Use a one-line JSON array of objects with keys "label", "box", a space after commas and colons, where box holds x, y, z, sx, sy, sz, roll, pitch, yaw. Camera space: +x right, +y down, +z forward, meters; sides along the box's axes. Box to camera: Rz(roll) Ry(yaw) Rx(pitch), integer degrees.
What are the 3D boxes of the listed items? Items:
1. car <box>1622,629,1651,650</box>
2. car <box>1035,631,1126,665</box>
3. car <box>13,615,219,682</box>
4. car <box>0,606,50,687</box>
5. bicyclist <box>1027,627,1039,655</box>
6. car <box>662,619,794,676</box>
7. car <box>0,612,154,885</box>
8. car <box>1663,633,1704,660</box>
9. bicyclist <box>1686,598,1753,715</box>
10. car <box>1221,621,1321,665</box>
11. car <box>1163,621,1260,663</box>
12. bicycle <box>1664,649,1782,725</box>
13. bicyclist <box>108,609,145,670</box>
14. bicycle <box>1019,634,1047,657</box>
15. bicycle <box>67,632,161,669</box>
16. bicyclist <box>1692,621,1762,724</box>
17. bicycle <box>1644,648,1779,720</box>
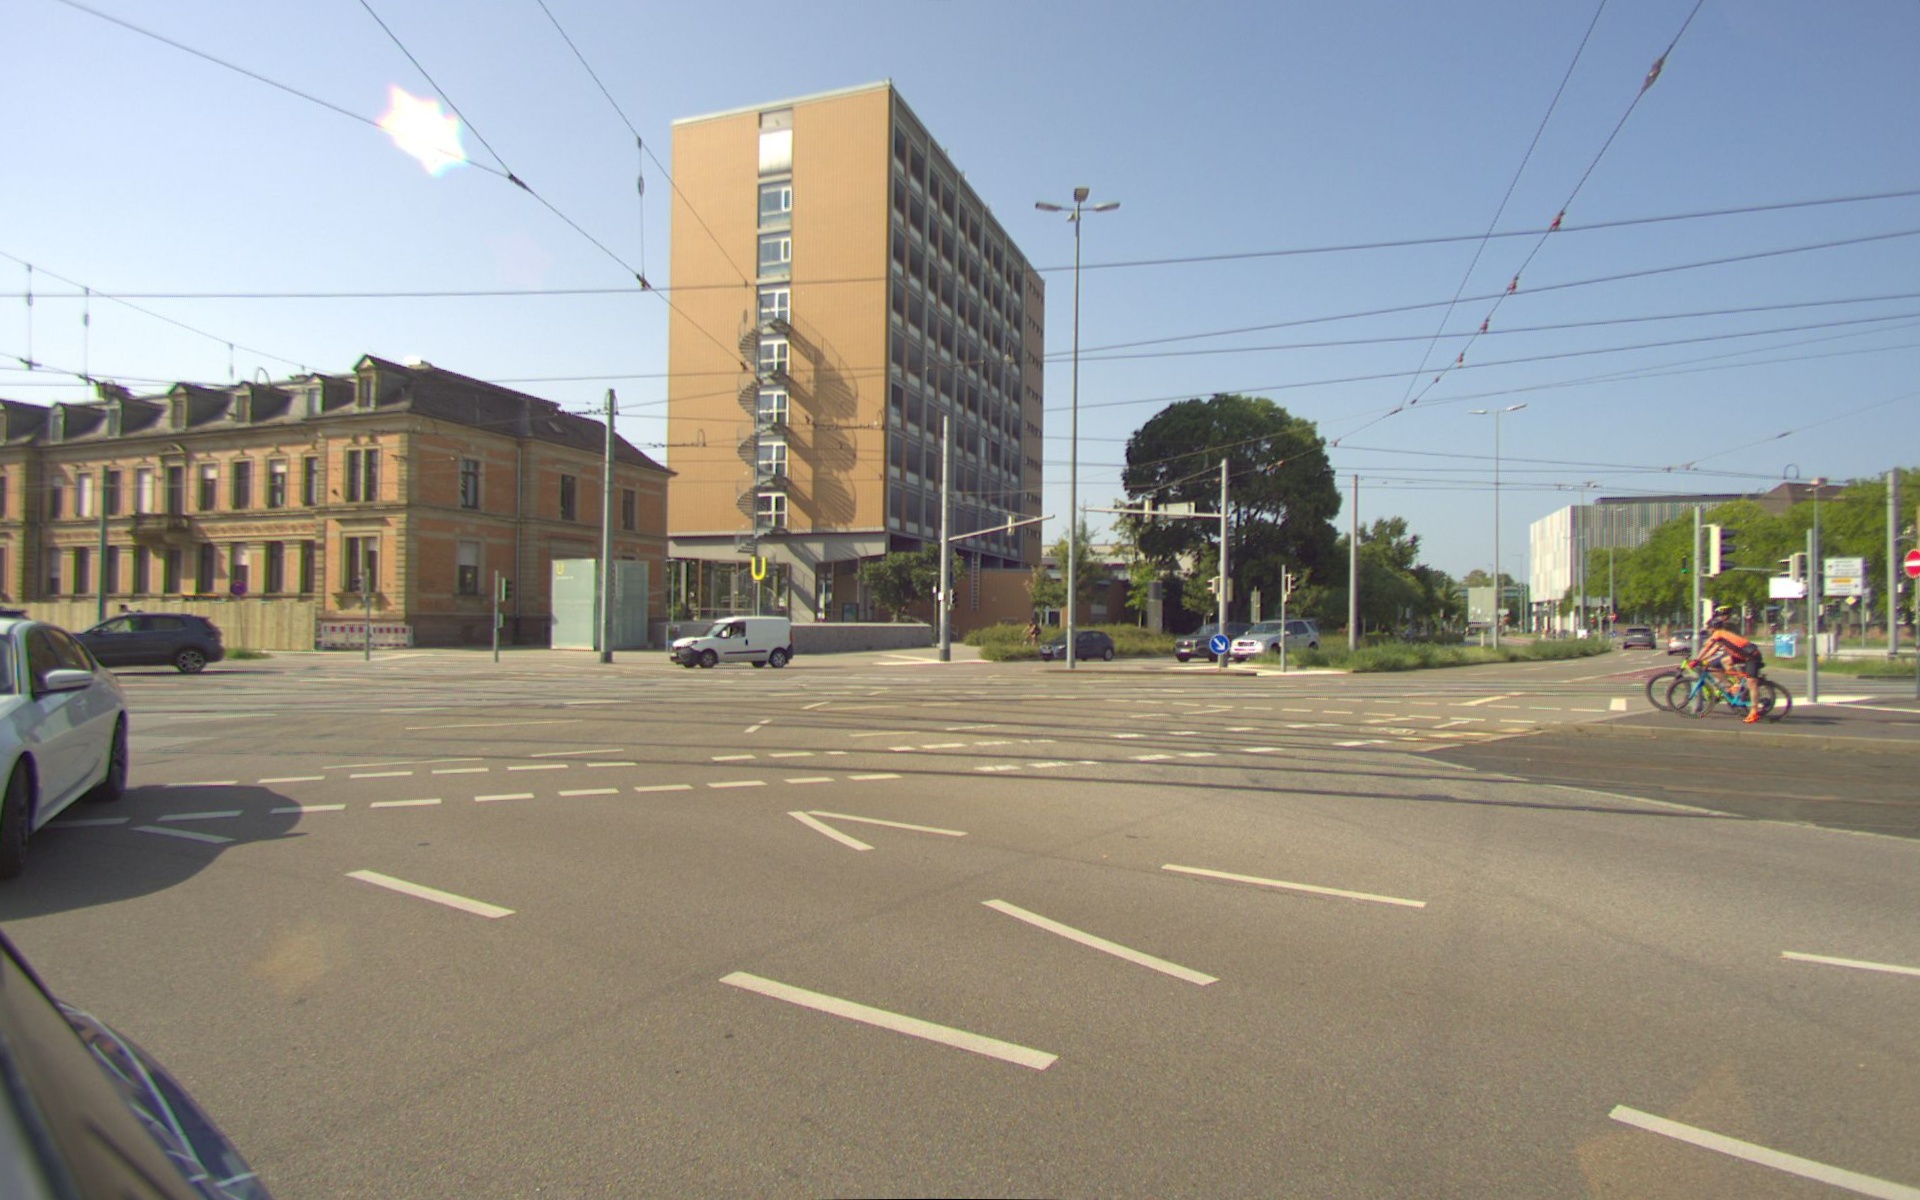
[{"label": "car", "box": [48.452, 2.827, 72.491, 1.491, 1.462, 3.479, -1, -2, 38]}, {"label": "car", "box": [5.579, 2.223, 46.690, 4.221, 1.476, 1.677, 2, -4, -39]}, {"label": "car", "box": [-21.426, 1.227, 25.898, 3.911, 1.594, 1.747, 2, -3, -38]}, {"label": "car", "box": [-22.092, 0.999, 21.243, 4.218, 1.720, 1.773, 1, -4, -35]}, {"label": "bicyclist", "box": [3.885, 2.170, 53.902, 0.540, 1.491, 0.398, 2, -2, -40]}, {"label": "car", "box": [-8.204, 1.677, 35.977, 4.219, 1.901, 1.798, 2, -4, -37]}, {"label": "car", "box": [-6.680, 0.831, 6.368, 1.784, 1.438, 4.789, -1, -1, -30]}, {"label": "car", "box": [42.445, 2.688, 59.340, 1.780, 1.519, 3.948, -1, -2, 38]}, {"label": "bicyclist", "box": [13.305, 0.981, 17.744, 0.572, 1.989, 0.808, 1, -2, -43]}, {"label": "car", "box": [12.706, 1.765, 41.286, 4.223, 1.720, 1.955, 2, -4, -41]}, {"label": "car", "box": [10.921, 1.834, 43.806, 4.221, 1.720, 1.929, 2, -4, -39]}, {"label": "bicycle", "box": [12.602, 1.413, 16.754, 0.307, 1.174, 1.501, 1, -2, -41]}, {"label": "bicyclist", "box": [-25.884, 1.222, 31.443, 0.698, 1.876, 0.784, 1, -2, -29]}, {"label": "bicycle", "box": [3.889, 2.411, 53.848, 1.745, 1.203, 0.402, 2, -2, -41]}, {"label": "bicycle", "box": [-26.138, 1.552, 31.321, 2.149, 1.104, 0.531, 1, -2, -29]}, {"label": "bicyclist", "box": [12.631, 1.173, 16.666, 0.504, 1.642, 0.808, 1, -2, -42]}, {"label": "bicycle", "box": [13.229, 1.449, 17.863, 0.371, 1.174, 1.861, 1, -2, -41]}]
